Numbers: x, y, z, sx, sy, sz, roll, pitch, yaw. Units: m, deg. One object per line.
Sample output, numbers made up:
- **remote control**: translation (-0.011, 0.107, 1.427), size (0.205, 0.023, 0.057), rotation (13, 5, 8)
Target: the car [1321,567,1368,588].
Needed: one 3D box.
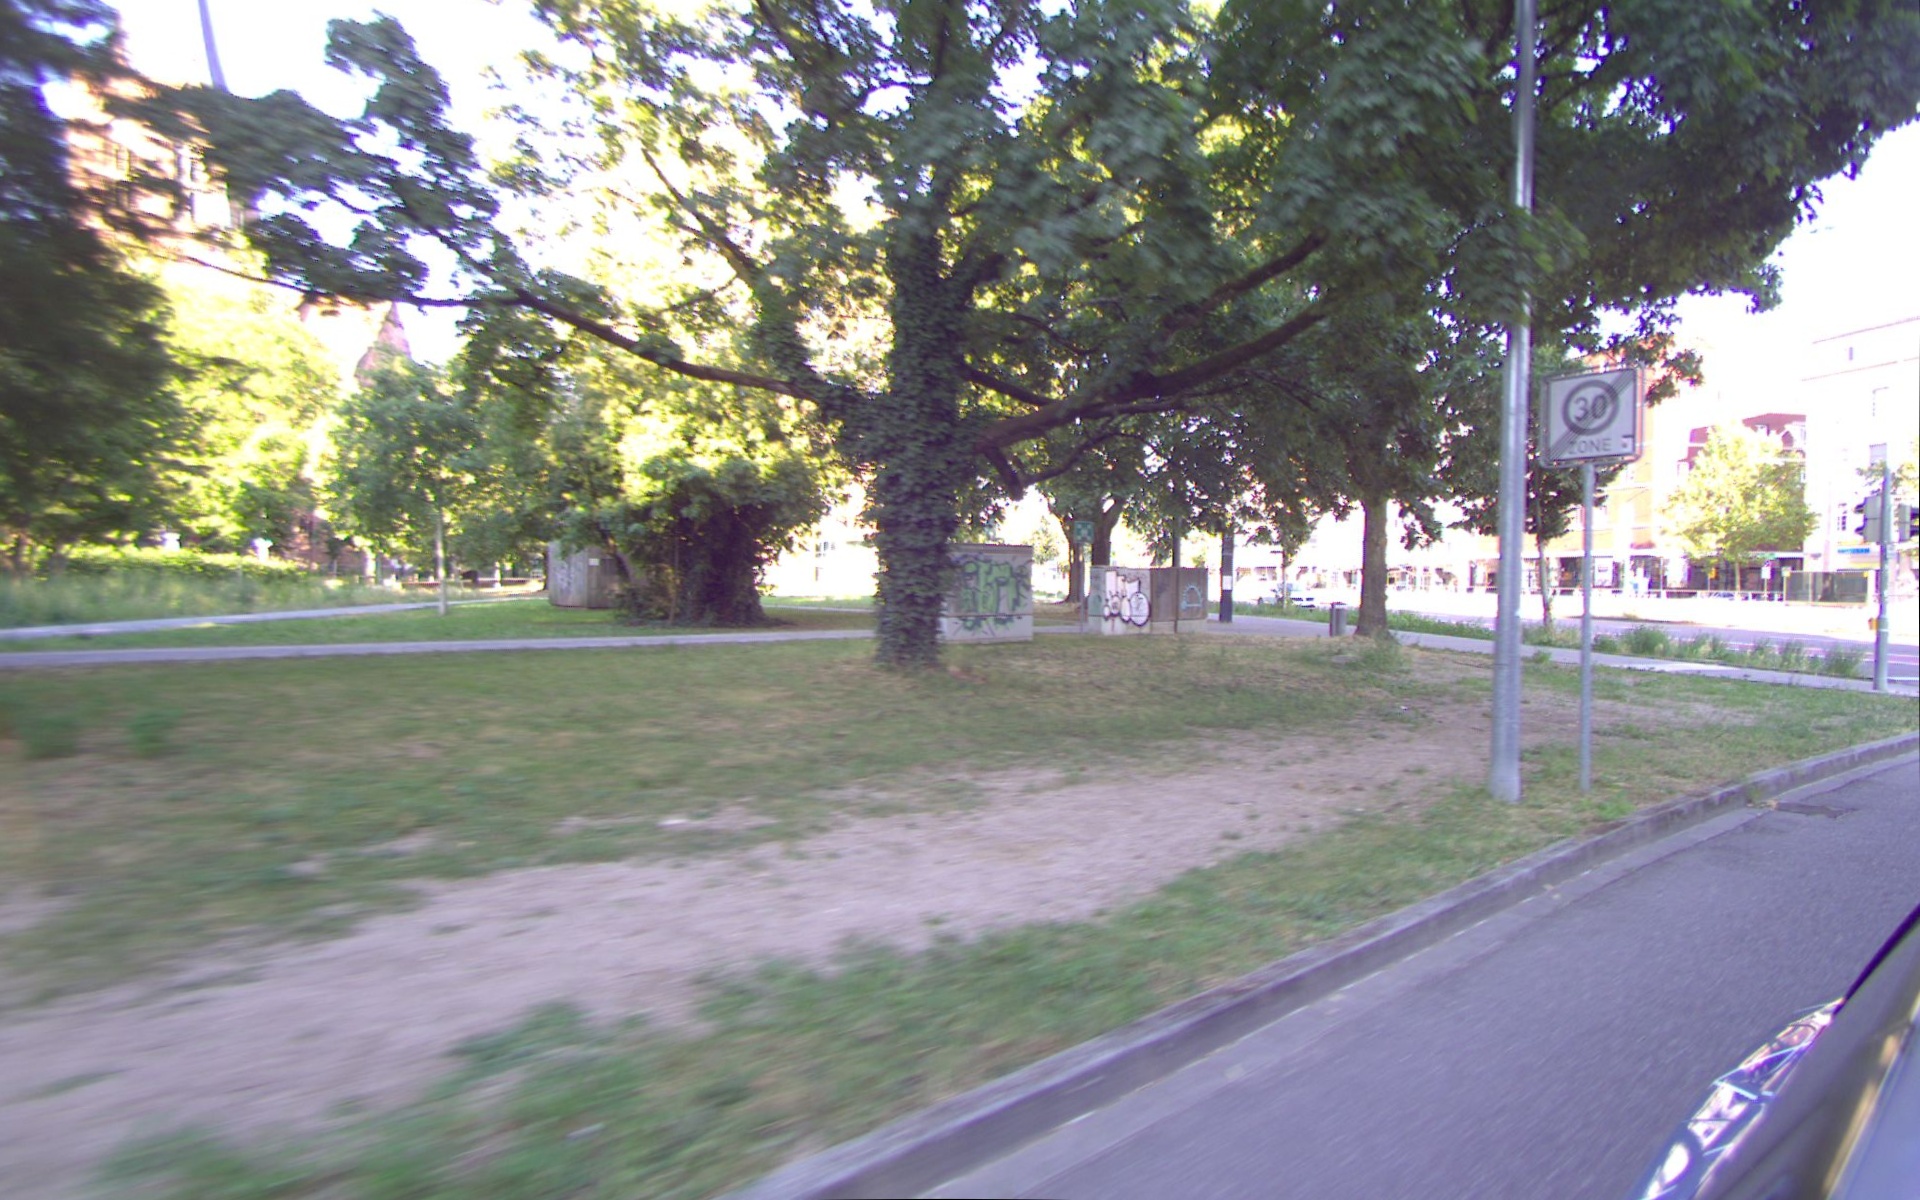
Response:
- **car**: translation (35.430, -2.116, 93.383), size (1.960, 1.841, 4.986), rotation (1, 1, -6)

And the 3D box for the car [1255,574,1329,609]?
- **car**: translation (16.063, -0.439, 49.230), size (1.798, 1.556, 4.284), rotation (-1, 2, -6)

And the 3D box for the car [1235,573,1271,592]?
- **car**: translation (32.922, -1.976, 113.910), size (1.959, 2.038, 4.784), rotation (0, 2, -9)

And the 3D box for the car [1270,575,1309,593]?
- **car**: translation (34.106, -1.705, 105.016), size (1.959, 1.819, 4.902), rotation (0, 1, -7)
